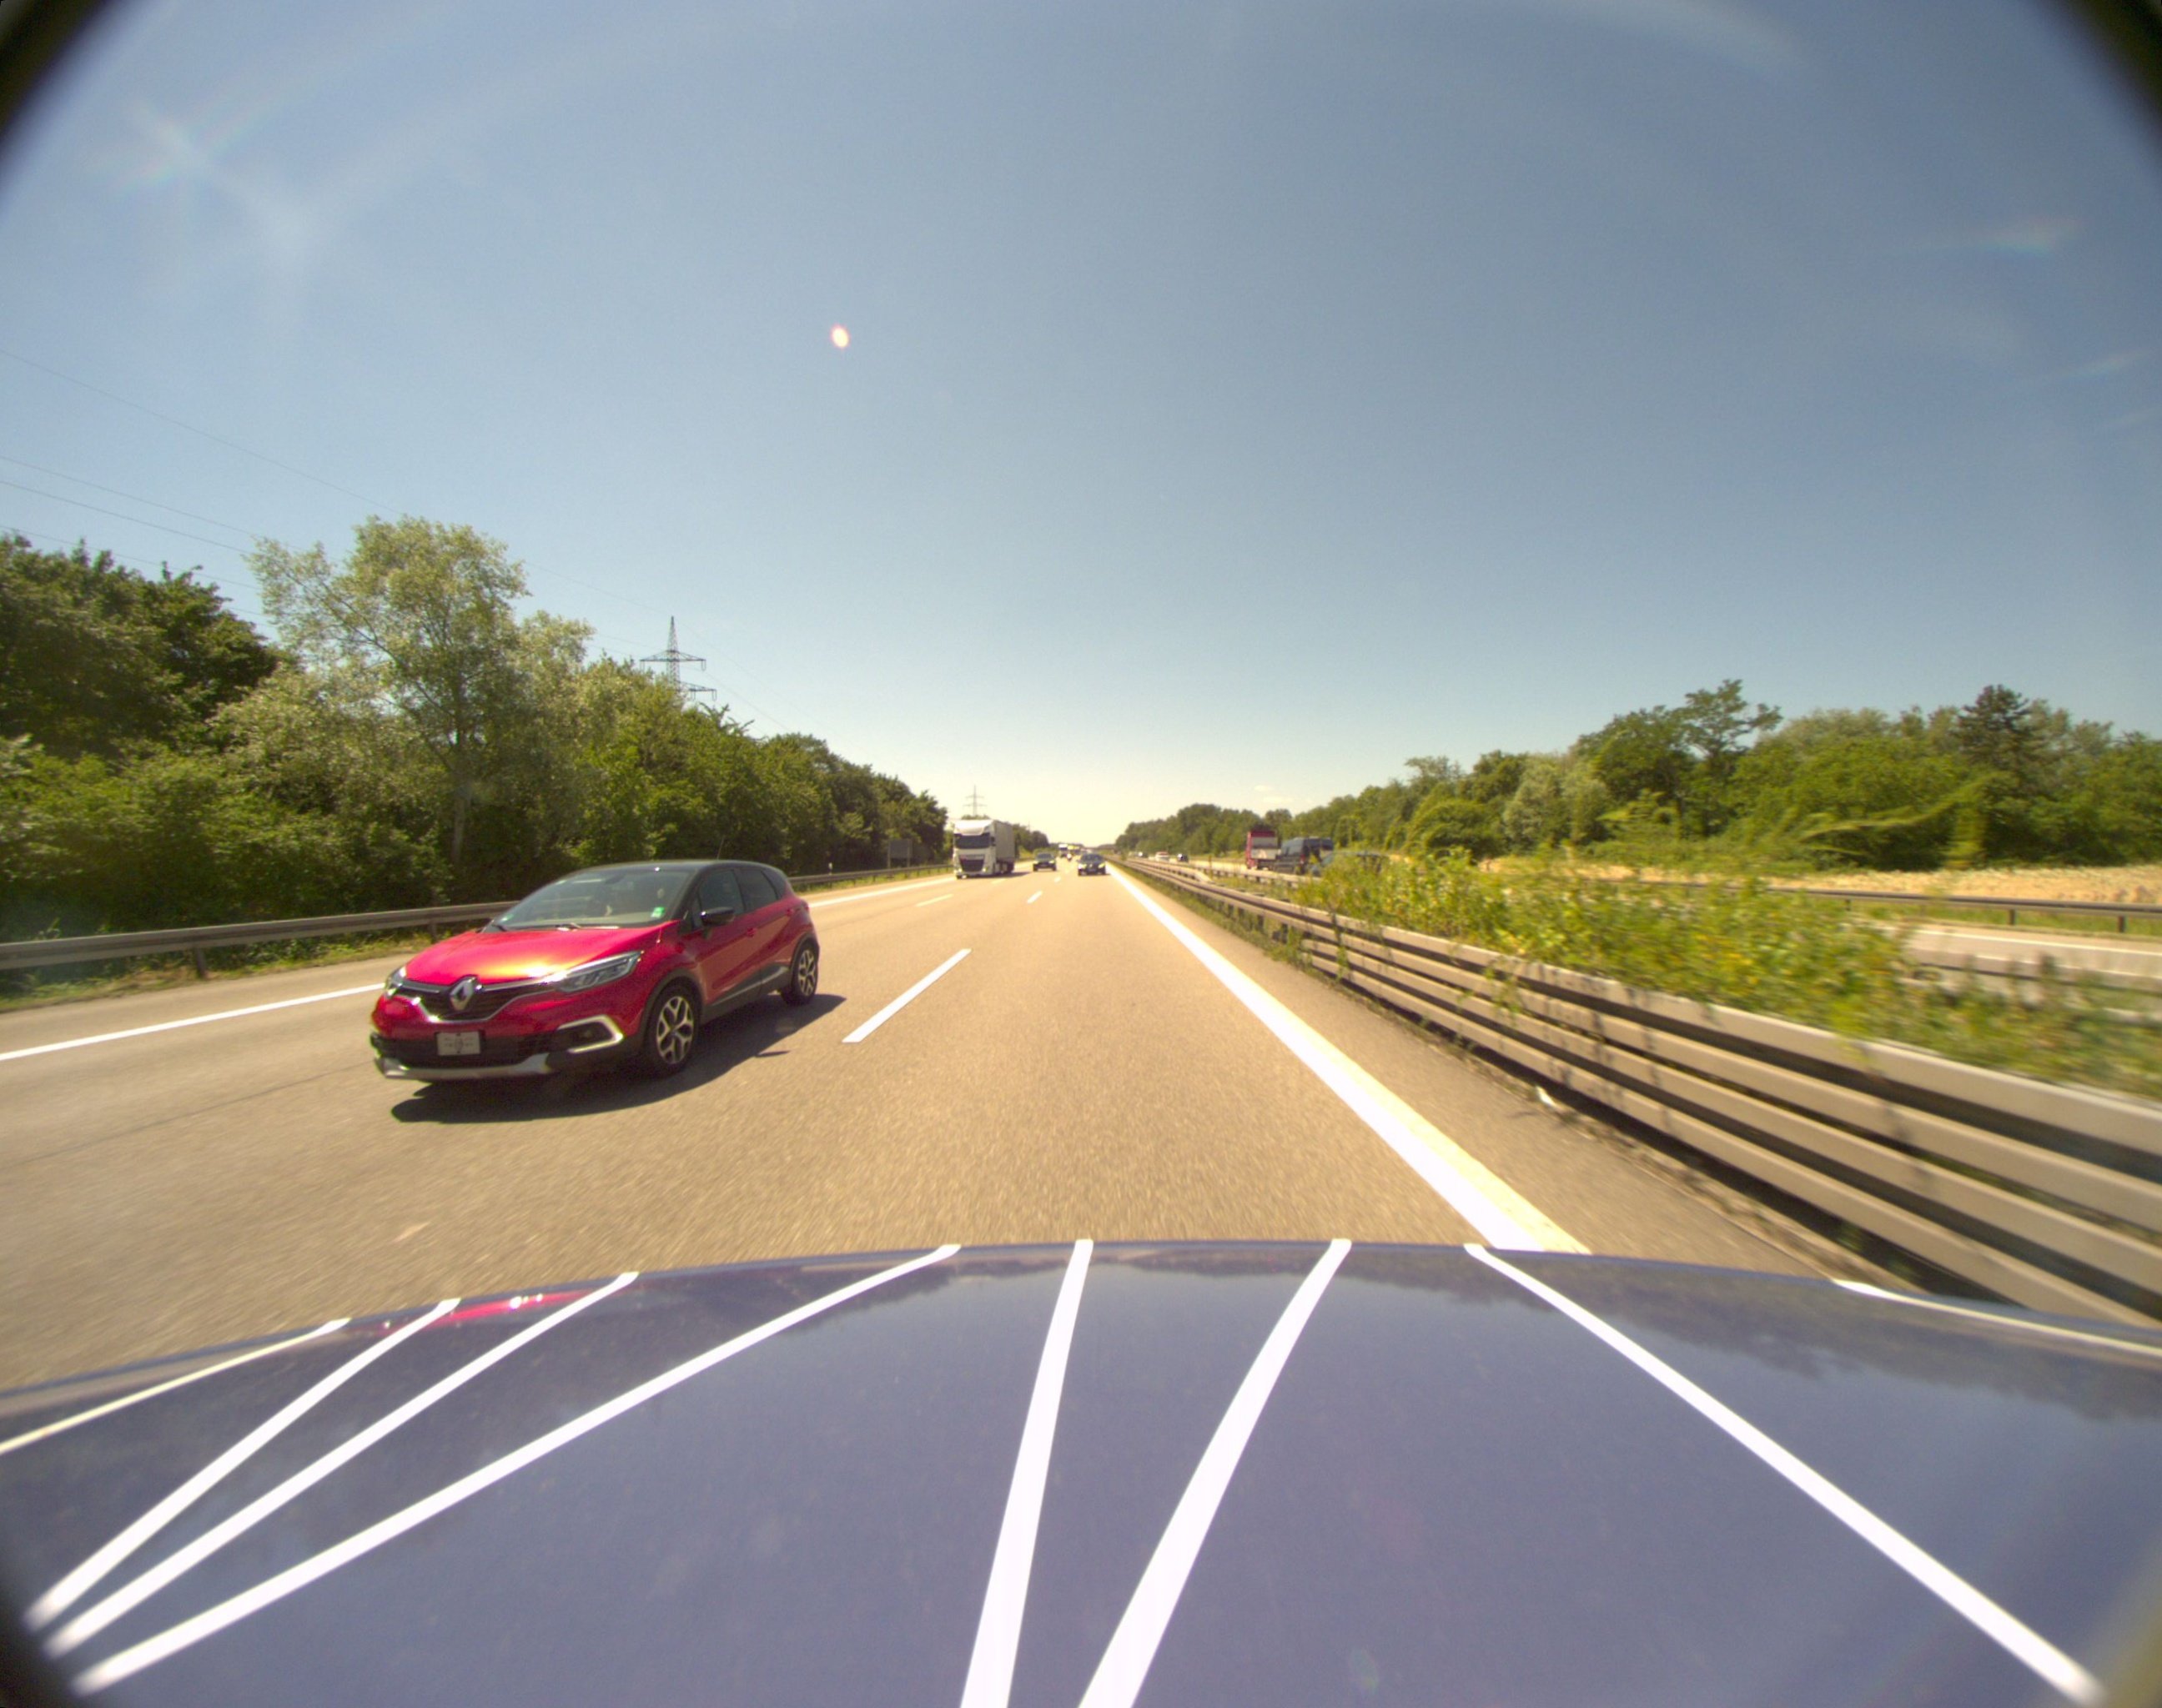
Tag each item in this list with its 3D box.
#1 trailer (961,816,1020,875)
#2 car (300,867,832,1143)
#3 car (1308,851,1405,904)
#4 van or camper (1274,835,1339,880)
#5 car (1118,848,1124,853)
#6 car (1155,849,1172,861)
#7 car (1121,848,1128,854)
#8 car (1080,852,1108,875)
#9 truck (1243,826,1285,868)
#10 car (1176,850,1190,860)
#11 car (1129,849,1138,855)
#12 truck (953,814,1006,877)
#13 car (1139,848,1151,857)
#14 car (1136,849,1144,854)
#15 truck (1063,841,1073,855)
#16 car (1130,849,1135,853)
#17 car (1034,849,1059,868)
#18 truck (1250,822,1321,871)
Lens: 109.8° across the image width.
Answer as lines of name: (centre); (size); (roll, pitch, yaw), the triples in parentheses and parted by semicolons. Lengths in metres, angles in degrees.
trailer: (-6.907, -0.626, 60.064); (2.743, 4.083, 13.121); (-2, 0, 1)
car: (-3.785, 0.961, 6.618); (1.808, 1.536, 4.000); (-2, 1, 1)
car: (9.271, 0.727, 25.908); (1.804, 1.644, 4.124); (1, 1, 1)
van or camper: (13.762, 0.166, 46.761); (2.176, 2.573, 5.872); (1, 1, 0)
car: (12.942, -1.134, 248.550); (1.771, 1.740, 3.986); (0, 1, 1)
car: (10.669, 0.136, 98.724); (1.808, 1.559, 4.095); (1, 1, 1)
car: (12.845, -0.923, 223.016); (1.964, 1.761, 4.442); (0, 1, 1)
car: (0.842, 0.591, 50.795); (1.808, 1.385, 3.999); (-2, 1, 0)
truck: (18.388, -0.719, 76.749); (2.767, 3.991, 5.750); (1, 1, 0)
car: (16.065, 0.158, 119.264); (1.737, 1.443, 3.677); (1, 1, 1)
car: (12.491, -0.445, 180.121); (1.813, 1.527, 3.961); (1, 0, 0)
truck: (-7.011, -0.582, 53.309); (2.743, 4.096, 6.124); (-2, 1, 1)
car: (11.668, -0.246, 138.647); (1.813, 1.638, 3.961); (1, 0, 0)
car: (17.206, -0.804, 221.082); (1.884, 1.557, 4.192); (1, 1, 1)
truck: (-3.778, -1.655, 220.415); (2.573, 3.871, 5.722); (-2, 1, 0)
car: (18.266, -0.952, 268.662); (1.586, 1.420, 3.477); (1, 1, 1)
car: (-2.983, 0.391, 66.655); (1.878, 1.614, 4.004); (-2, 0, 0)
truck: (18.327, -0.666, 69.229); (2.767, 3.991, 13.522); (1, 0, 0)
